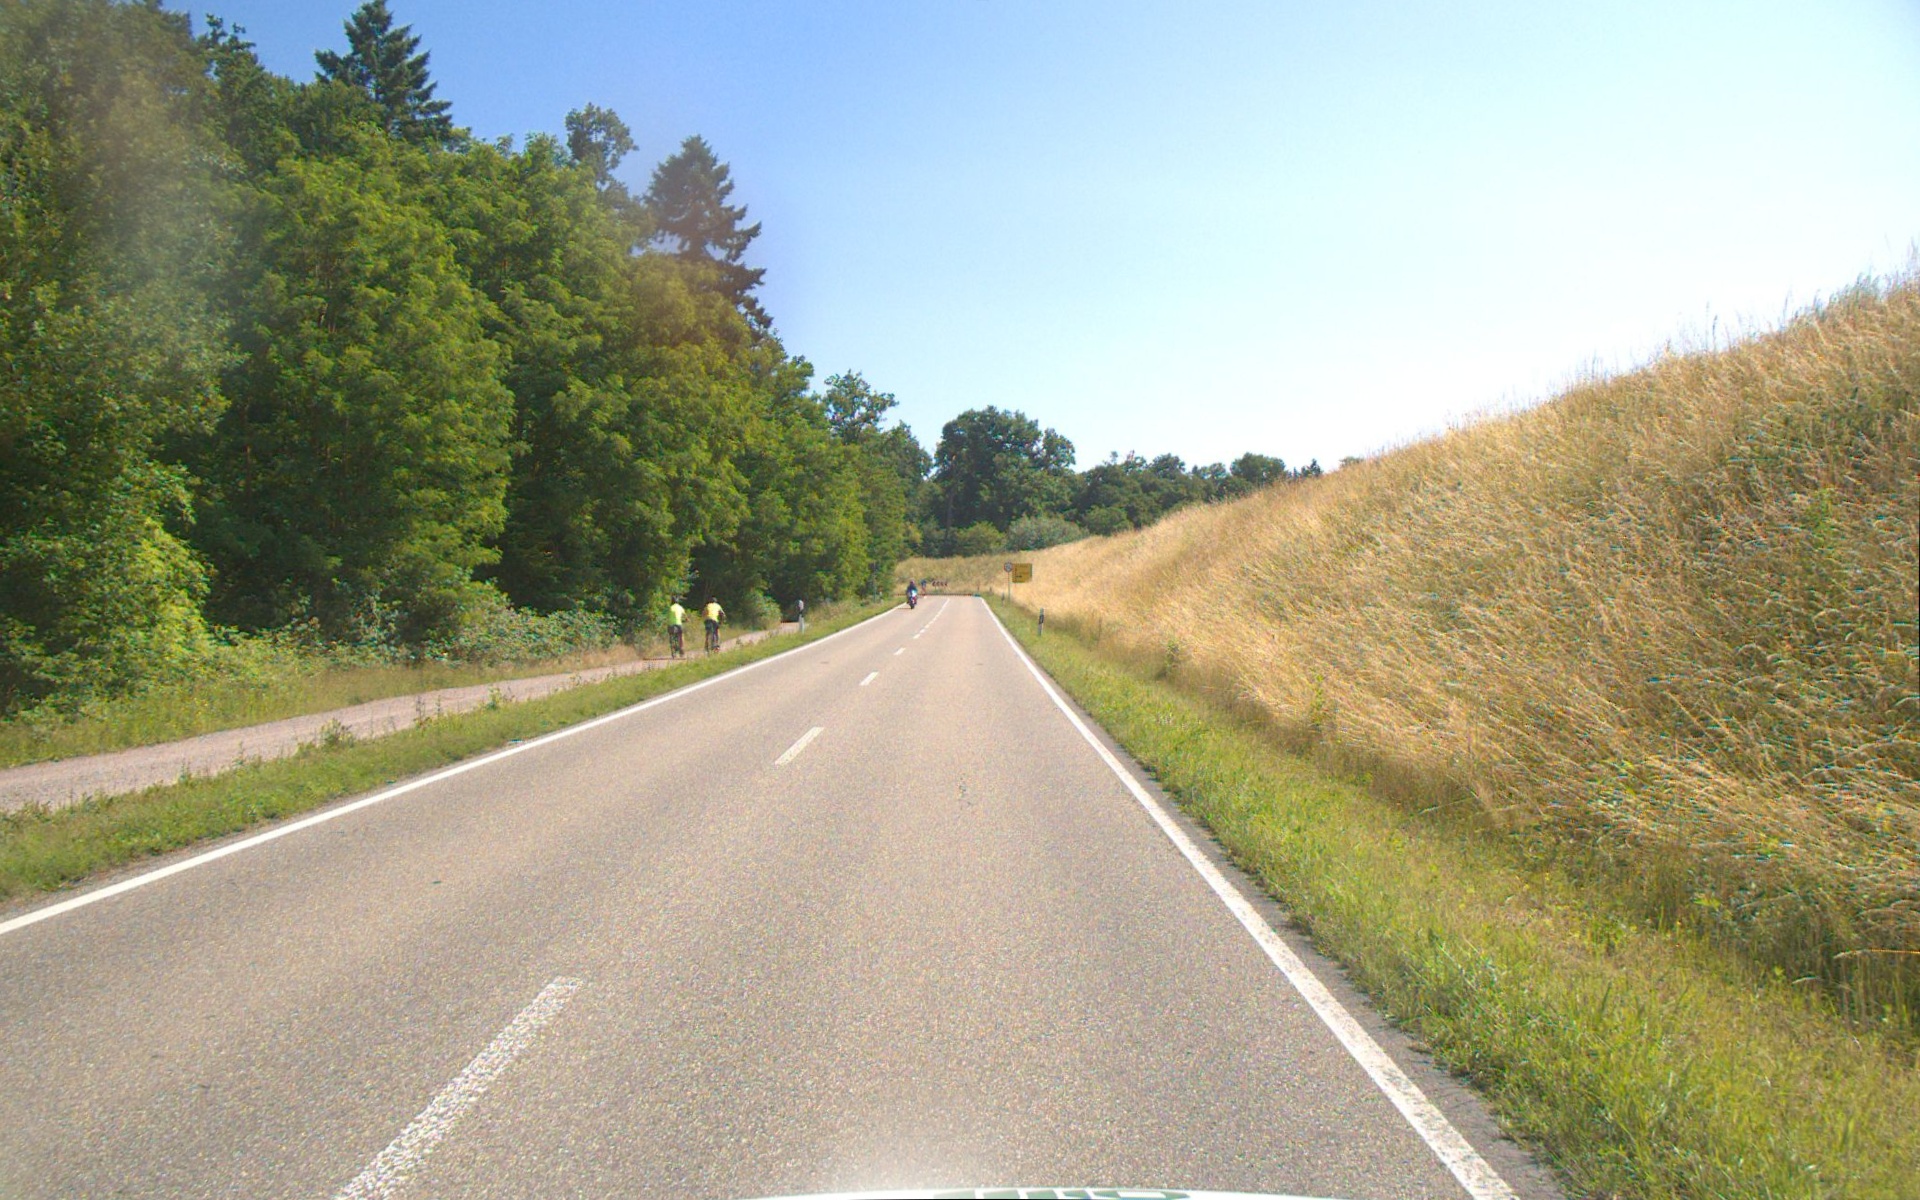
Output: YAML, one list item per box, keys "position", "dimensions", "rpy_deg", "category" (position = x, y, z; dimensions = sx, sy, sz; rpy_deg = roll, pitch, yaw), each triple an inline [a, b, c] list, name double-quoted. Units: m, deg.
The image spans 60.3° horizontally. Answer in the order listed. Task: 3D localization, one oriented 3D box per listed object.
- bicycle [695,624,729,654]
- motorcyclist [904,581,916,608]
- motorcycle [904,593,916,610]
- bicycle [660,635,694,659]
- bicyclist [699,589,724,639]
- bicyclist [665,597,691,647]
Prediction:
- position: [-7.247, 1.134, 48.440]
  dimensions: [0.627, 0.802, 2.137]
  rpy_deg: [-2, 0, 0]
  category: "bicycle"
- position: [-2.971, -0.321, 97.584]
  dimensions: [0.646, 1.555, 0.813]
  rpy_deg: [-2, -1, -2]
  category: "motorcyclist"
- position: [-2.972, 0.084, 97.546]
  dimensions: [0.626, 1.002, 2.006]
  rpy_deg: [-2, 0, -1]
  category: "motorcycle"
- position: [-8.344, 1.380, 48.799]
  dimensions: [0.606, 0.693, 2.136]
  rpy_deg: [2, -1, 0]
  category: "bicycle"
- position: [-7.271, 0.397, 48.447]
  dimensions: [0.592, 1.440, 0.702]
  rpy_deg: [-1, 1, 0]
  category: "bicyclist"
- position: [-8.319, 0.652, 48.773]
  dimensions: [0.592, 1.440, 0.702]
  rpy_deg: [2, -2, 0]
  category: "bicyclist"
